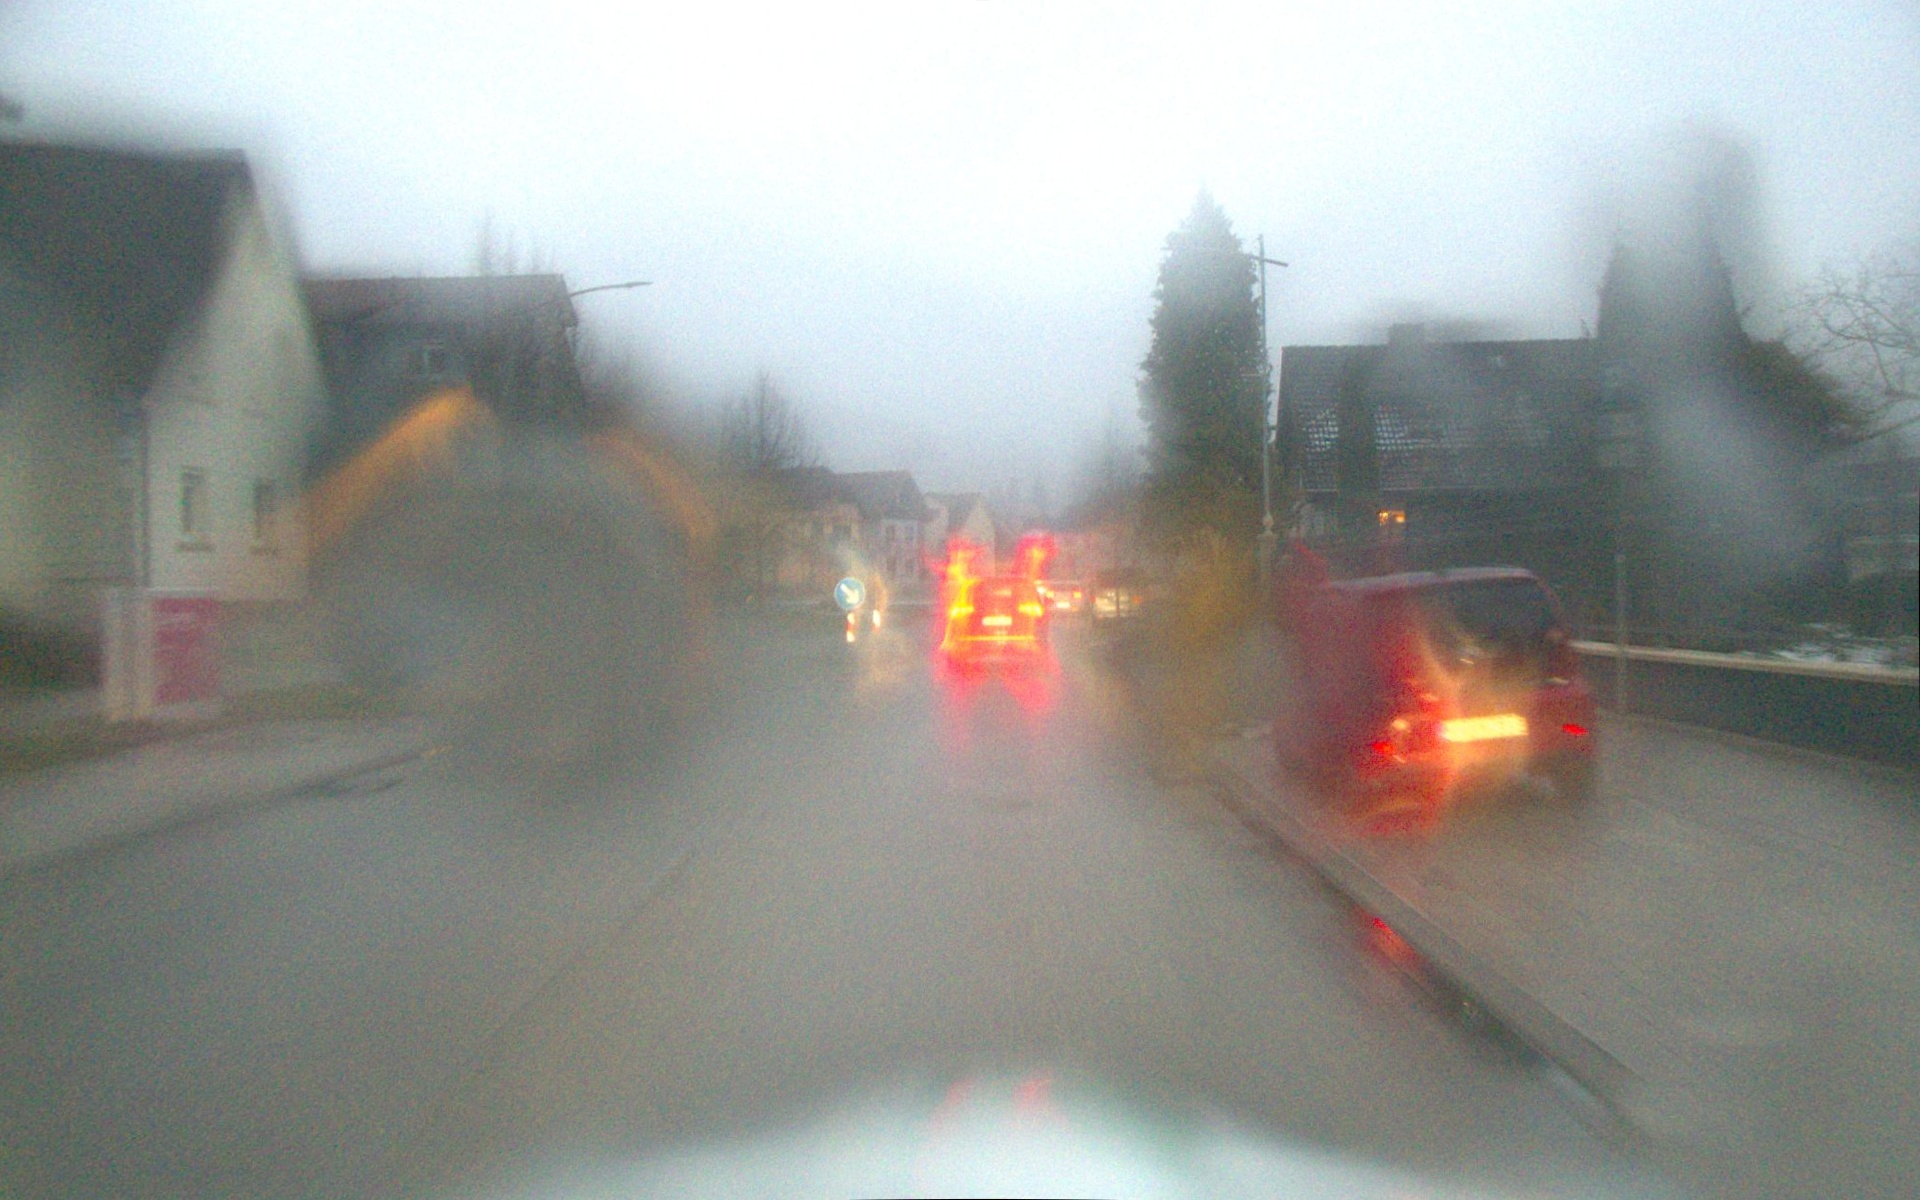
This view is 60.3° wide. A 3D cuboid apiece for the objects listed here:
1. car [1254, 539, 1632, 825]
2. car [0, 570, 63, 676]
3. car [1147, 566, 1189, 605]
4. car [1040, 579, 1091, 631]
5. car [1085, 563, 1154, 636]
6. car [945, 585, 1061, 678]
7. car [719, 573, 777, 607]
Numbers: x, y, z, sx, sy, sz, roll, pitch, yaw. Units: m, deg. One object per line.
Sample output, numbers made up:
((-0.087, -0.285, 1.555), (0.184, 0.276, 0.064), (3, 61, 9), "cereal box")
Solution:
((3.177, 0.482, 11.551), (1.615, 1.566, 3.391), (-5, 0, 2), "car")
((-16.655, 0.354, 26.120), (3.906, 1.628, 1.922), (0, 1, -1), "car")
((10.835, -0.776, 85.982), (1.708, 1.816, 4.340), (-3, 1, 12), "car")
((4.399, 0.201, 68.452), (1.951, 2.049, 4.003), (0, 0, 6), "car")
((4.936, -0.062, 51.762), (1.936, 2.048, 5.749), (-3, 1, 4), "car")
((0.744, 0.517, 30.065), (1.953, 1.552, 4.000), (-1, 0, 0), "car")
((-13.216, -0.647, 103.258), (1.952, 2.048, 4.001), (1, 1, 19), "car")
